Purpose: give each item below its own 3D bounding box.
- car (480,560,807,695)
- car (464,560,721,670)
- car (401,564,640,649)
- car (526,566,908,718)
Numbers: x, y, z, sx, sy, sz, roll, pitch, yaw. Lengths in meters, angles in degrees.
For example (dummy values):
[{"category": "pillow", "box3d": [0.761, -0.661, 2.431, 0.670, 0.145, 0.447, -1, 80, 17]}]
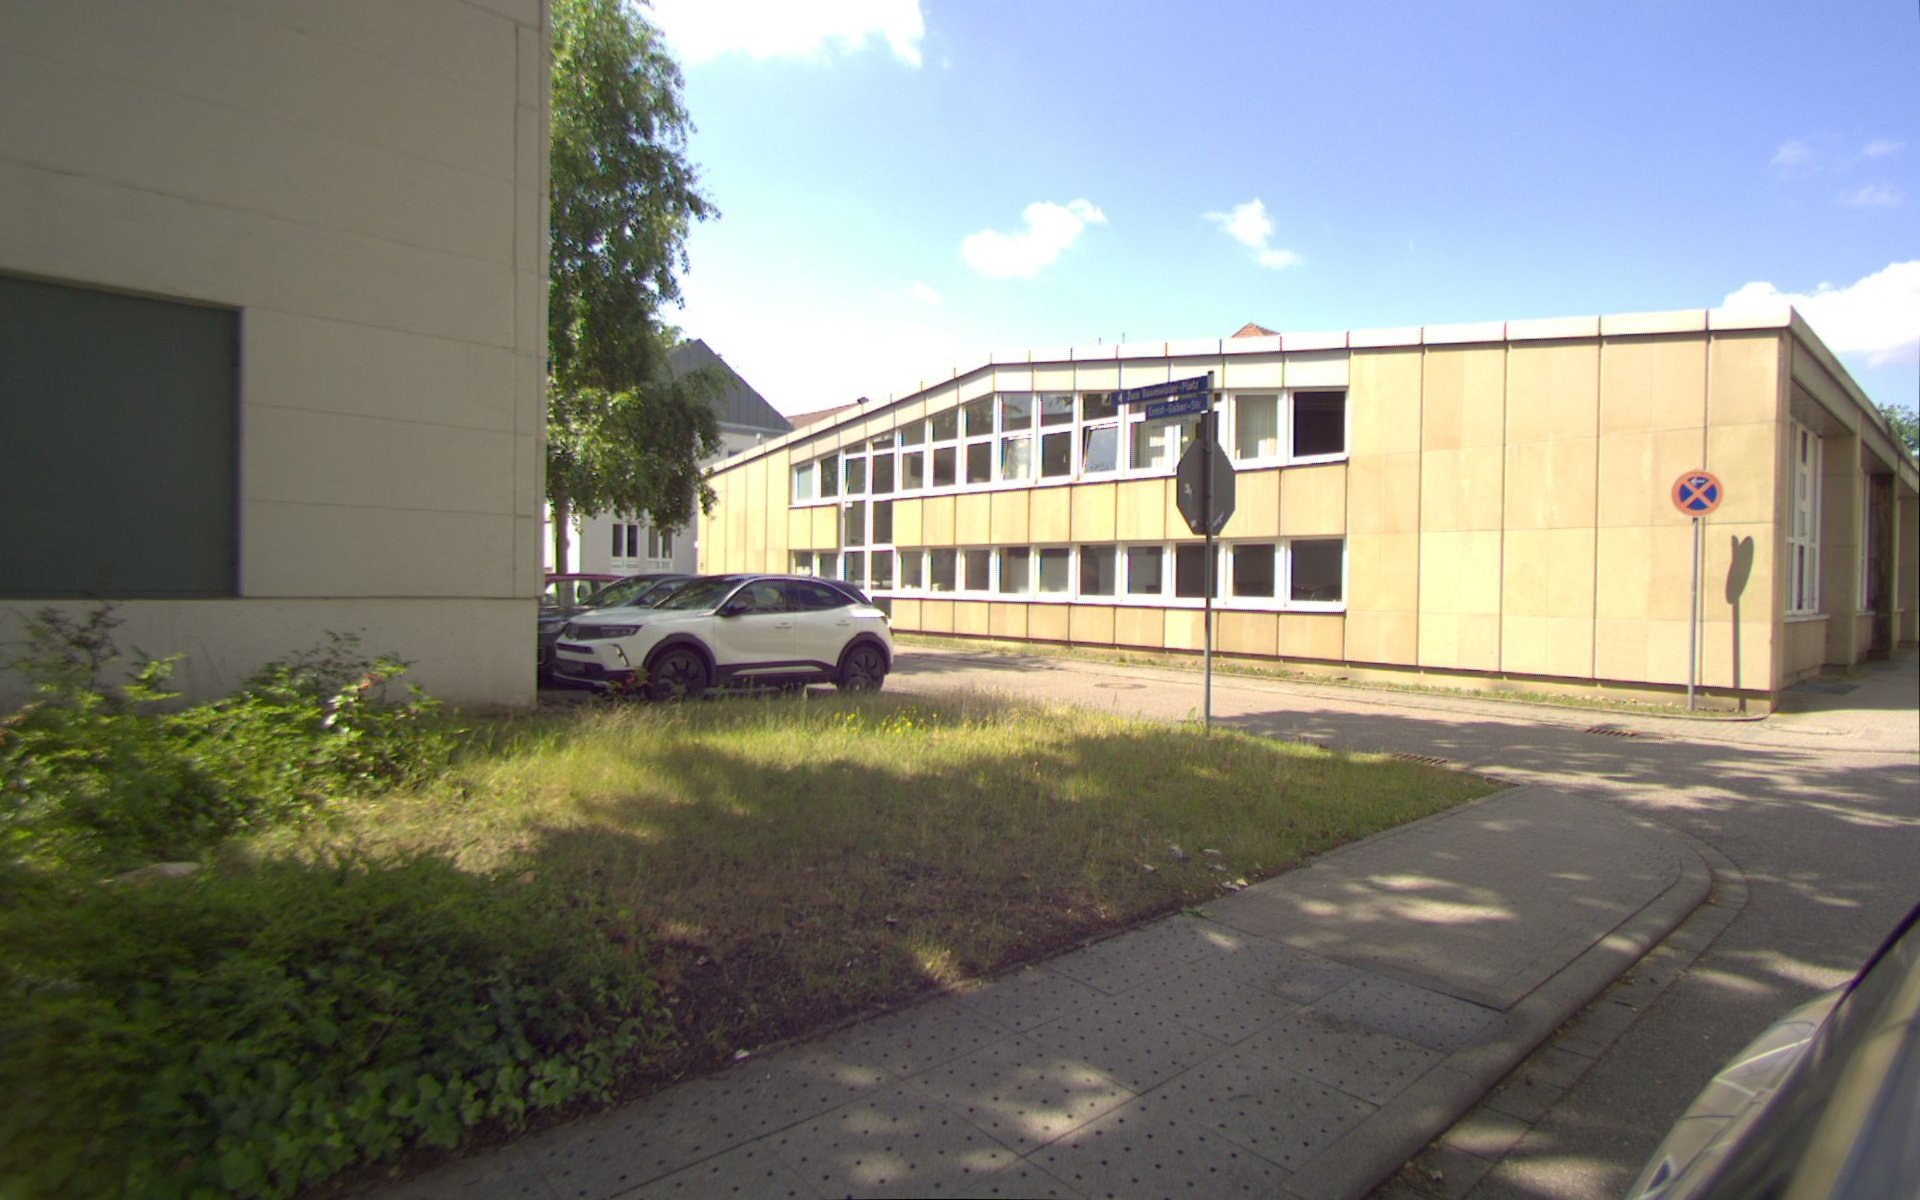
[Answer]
[{"category": "car", "box3d": [-4.287, 0.291, 14.016, 3.932, 1.598, 1.828, 0, 2, -42]}, {"category": "car", "box3d": [-5.830, 0.184, 16.312, 1.625, 1.572, 3.568, 2, 1, 43]}, {"category": "car", "box3d": [-8.659, 0.148, 20.109, 3.931, 1.493, 1.828, 3, 0, -42]}, {"category": "car", "box3d": [-2.728, 0.380, 11.963, 4.111, 1.495, 1.669, 0, 2, -43]}]
